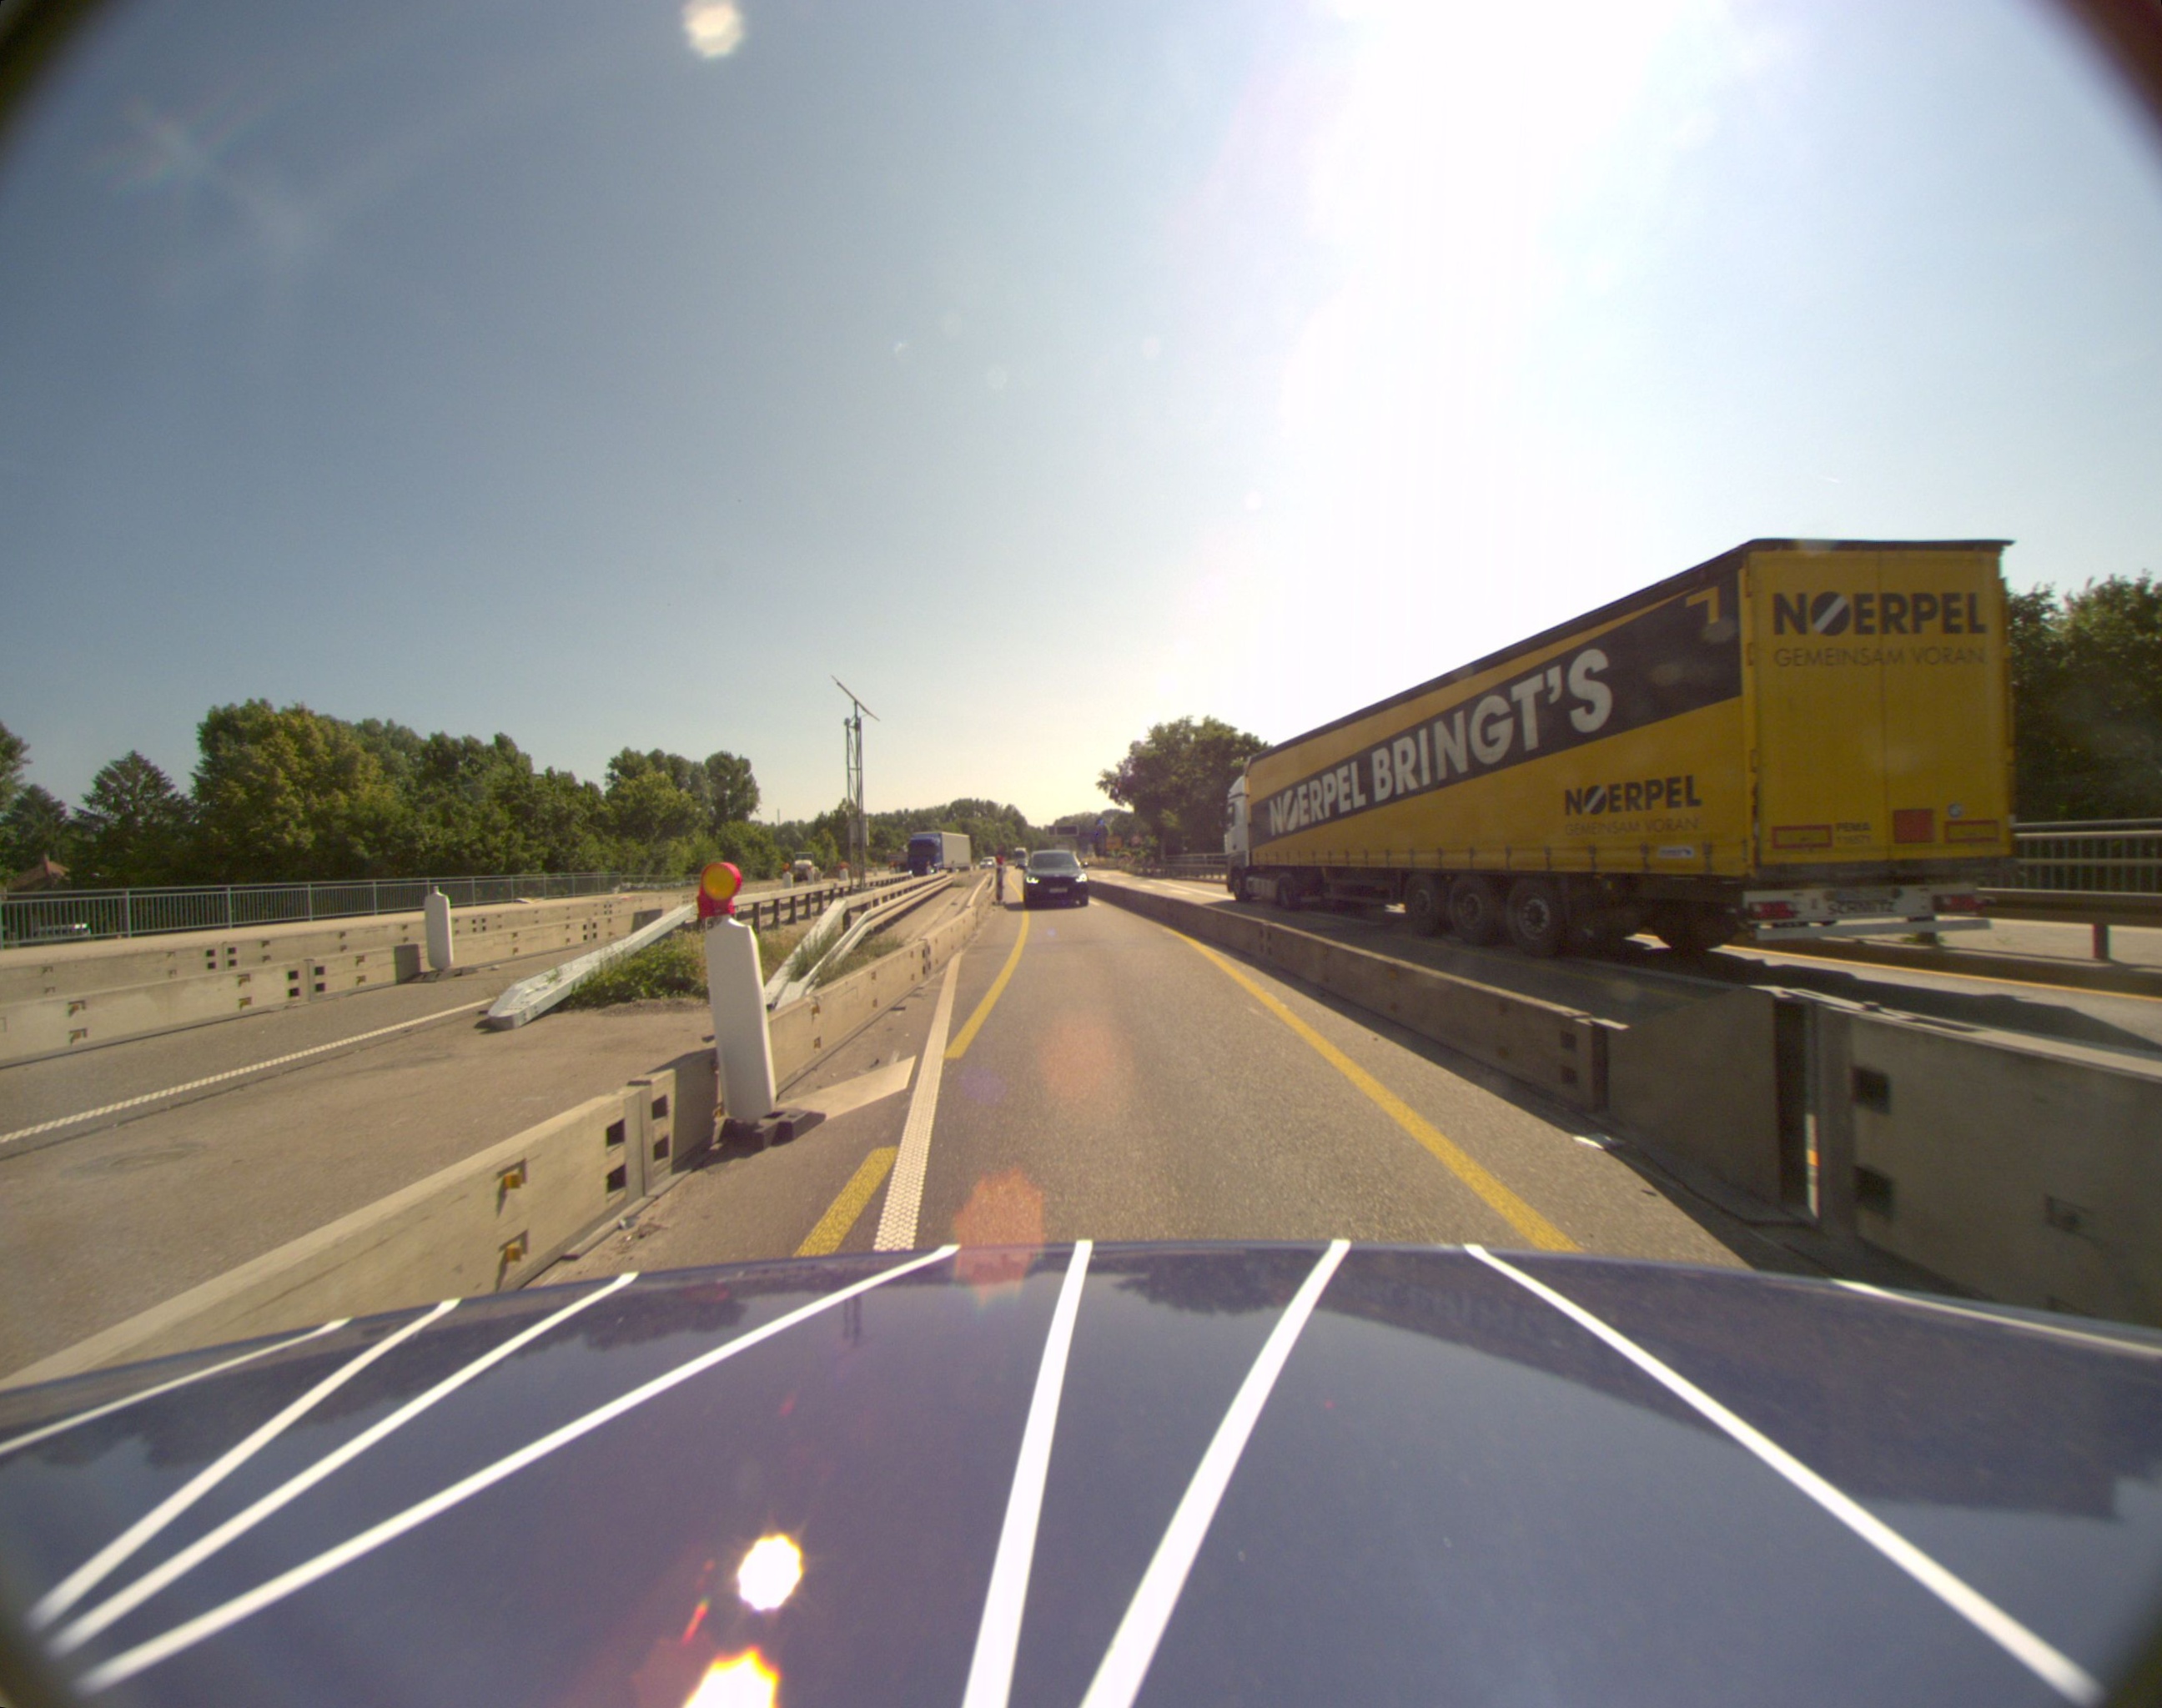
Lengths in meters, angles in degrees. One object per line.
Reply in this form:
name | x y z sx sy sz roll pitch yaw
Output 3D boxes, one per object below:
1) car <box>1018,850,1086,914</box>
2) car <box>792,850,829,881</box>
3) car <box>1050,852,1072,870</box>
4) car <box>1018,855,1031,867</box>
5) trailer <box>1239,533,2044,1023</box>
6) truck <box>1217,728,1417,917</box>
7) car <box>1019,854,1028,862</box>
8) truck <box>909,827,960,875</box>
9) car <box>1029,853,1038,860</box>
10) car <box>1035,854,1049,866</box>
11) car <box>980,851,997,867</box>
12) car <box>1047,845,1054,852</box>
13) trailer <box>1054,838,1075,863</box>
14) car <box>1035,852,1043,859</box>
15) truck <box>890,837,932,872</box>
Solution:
car | -0.836 0.779 23.519 1.789 1.651 4.486 -4 1 0
car | -24.314 0.960 68.564 2.111 2.627 5.979 -1 0 -10
car | -1.992 0.666 73.792 1.868 1.622 4.563 -2 0 -5
car | -7.990 0.944 107.064 1.748 1.621 4.091 -1 0 -4
trailer | 6.392 -0.677 13.744 2.769 4.112 14.523 -1 0 -5
truck | 5.796 -0.723 19.943 2.758 4.112 6.412 -1 0 -5
car | -12.893 0.878 170.706 1.747 1.621 4.091 -1 0 -2
truck | -12.896 -0.274 67.634 2.861 3.962 8.664 -1 0 0
car | -12.458 0.634 200.570 1.998 2.002 4.000 -1 0 1
car | -5.143 0.772 100.038 1.743 1.543 3.940 -2 0 -5
car | -11.948 0.573 98.464 1.999 2.002 3.998 -1 0 -5
car | -9.585 -1.778 238.160 1.998 2.002 4.000 -1 0 1
trailer | -2.883 -0.469 130.654 2.811 4.019 13.462 -1 0 -4
car | -12.110 0.533 218.561 1.998 2.002 4.000 -1 0 1
truck | -18.070 0.029 81.315 2.606 3.413 8.732 -1 0 -2
